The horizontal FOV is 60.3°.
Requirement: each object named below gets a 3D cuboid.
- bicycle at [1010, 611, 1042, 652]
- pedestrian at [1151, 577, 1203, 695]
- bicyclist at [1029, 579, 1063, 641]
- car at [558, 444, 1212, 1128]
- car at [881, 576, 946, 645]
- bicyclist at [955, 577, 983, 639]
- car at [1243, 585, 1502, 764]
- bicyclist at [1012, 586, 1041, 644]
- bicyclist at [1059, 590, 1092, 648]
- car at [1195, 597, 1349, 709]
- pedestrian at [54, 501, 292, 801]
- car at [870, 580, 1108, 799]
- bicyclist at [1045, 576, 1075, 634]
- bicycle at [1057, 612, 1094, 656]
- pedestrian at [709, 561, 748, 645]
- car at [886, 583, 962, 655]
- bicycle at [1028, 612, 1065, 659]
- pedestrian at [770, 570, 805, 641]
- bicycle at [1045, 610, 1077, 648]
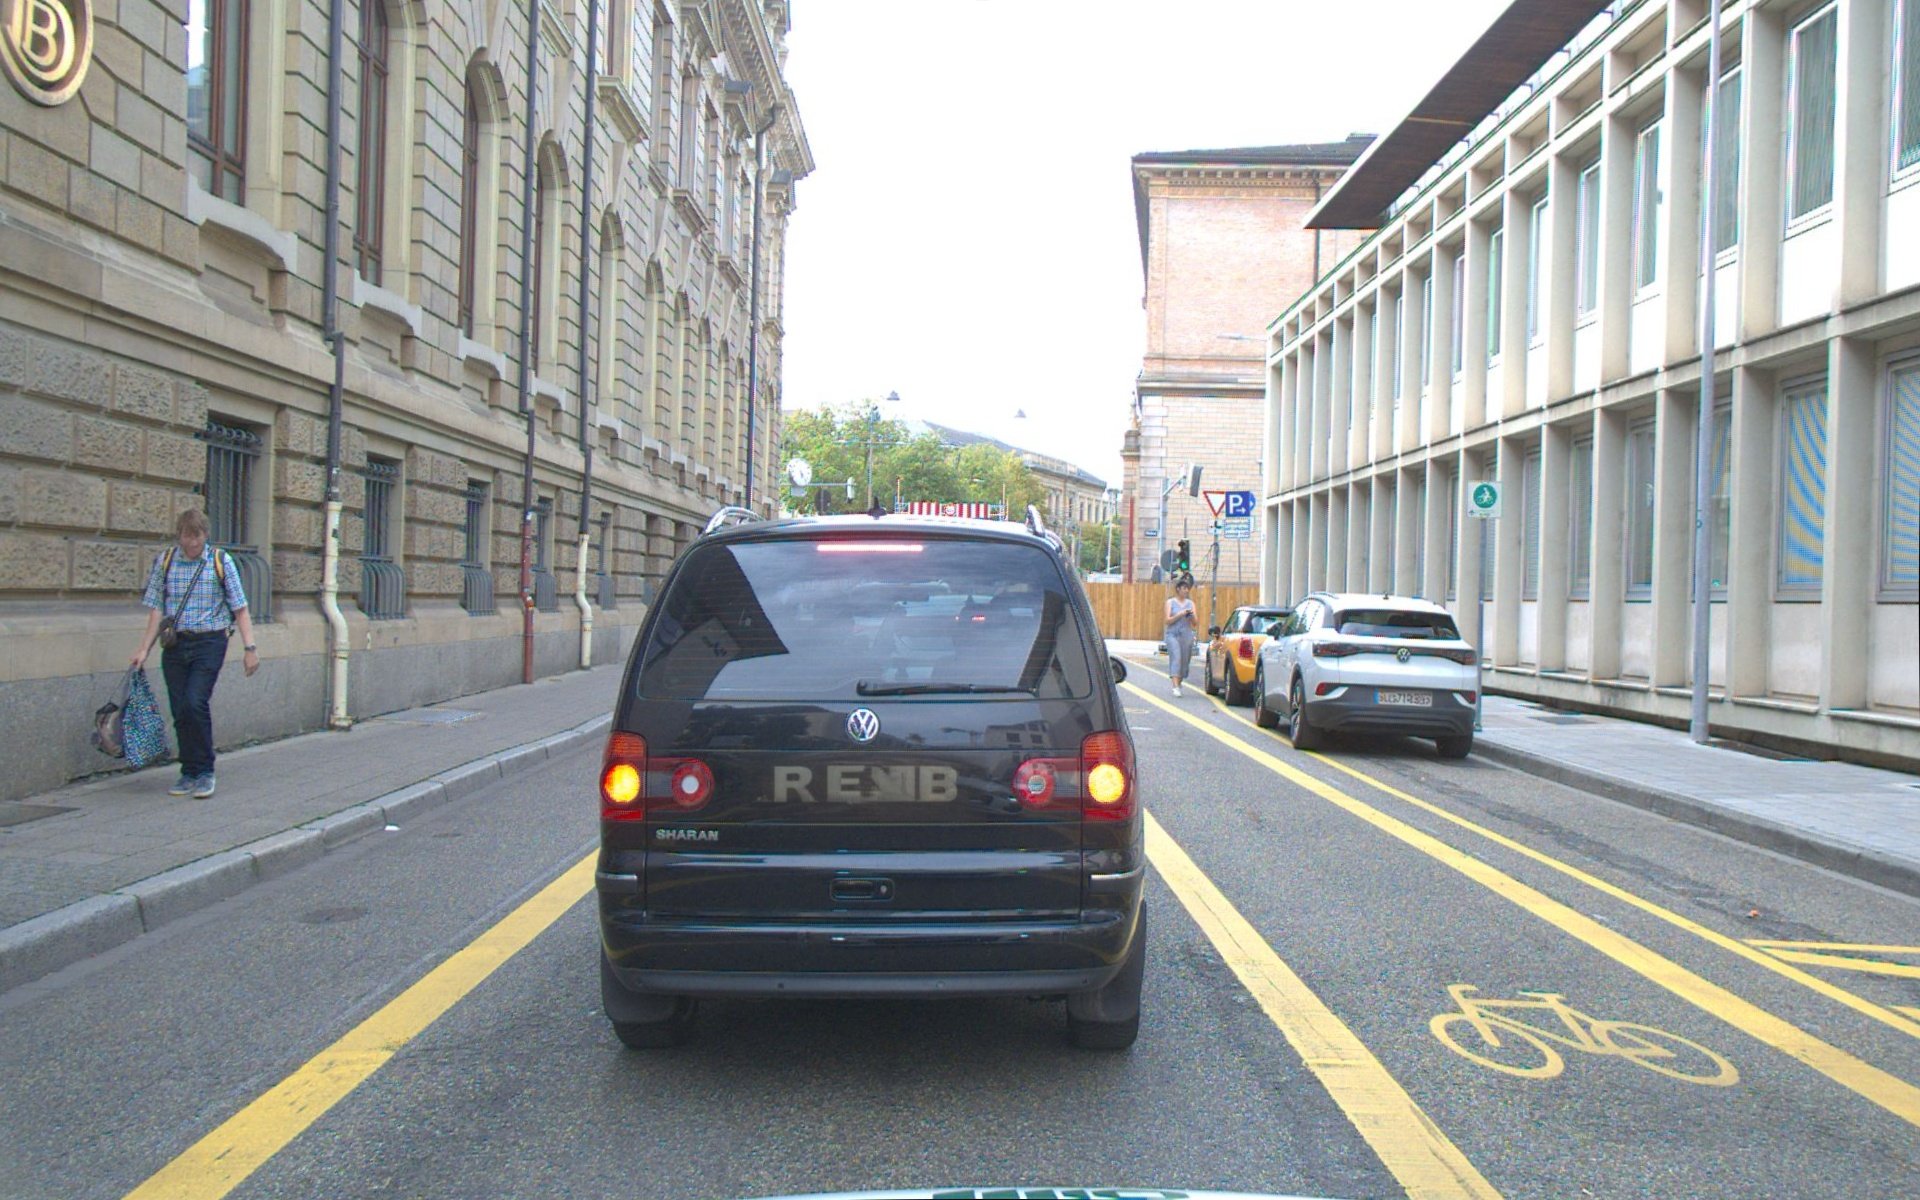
[{"bbox_3d":[1.740,0.814,43.650,0.720,1.026,2.068,1,0,-1],"label":"bicycle"},{"bbox_3d":[3.356,0.549,25.630,0.689,1.794,0.700,1,-1,-1],"label":"pedestrian"},{"bbox_3d":[1.999,0.234,38.458,0.720,1.401,0.828,1,0,-1],"label":"bicyclist"},{"bbox_3d":[-0.136,0.512,6.589,1.752,1.821,4.104,1,0,2],"label":"car"},{"bbox_3d":[-1.370,0.292,47.241,1.700,1.821,4.100,2,0,-4],"label":"car"},{"bbox_3d":[0.242,0.218,44.330,0.720,1.640,0.695,1,-1,-1],"label":"bicyclist"},{"bbox_3d":[4.456,0.738,18.575,1.822,1.633,4.513,4,0,2],"label":"car"},{"bbox_3d":[1.753,0.398,43.677,0.720,1.495,0.808,1,0,-1],"label":"bicyclist"},{"bbox_3d":[2.829,0.456,40.620,0.720,1.399,0.831,1,0,-1],"label":"bicyclist"},{"bbox_3d":[4.663,0.753,25.201,1.645,1.459,3.887,4,0,2],"label":"car"},{"bbox_3d":[-4.917,0.310,10.398,1.005,1.750,0.818,3,-1,-1],"label":"pedestrian"},{"bbox_3d":[0.277,0.637,13.718,1.643,1.494,4.104,2,0,2],"label":"car"},{"bbox_3d":[2.766,0.137,45.830,0.720,1.582,0.895,1,0,-1],"label":"bicyclist"},{"bbox_3d":[2.820,0.820,40.634,0.720,1.026,2.068,1,0,-1],"label":"bicycle"},{"bbox_3d":[-5.195,0.069,37.232,0.650,1.851,1.048,3,-1,-1],"label":"pedestrian"},{"bbox_3d":[-0.871,0.447,40.244,1.737,1.613,3.999,1,0,-1],"label":"car"},{"bbox_3d":[1.989,0.808,38.260,0.720,1.026,2.068,1,0,-1],"label":"bicycle"},{"bbox_3d":[-4.654,0.158,44.715,0.776,1.851,1.048,3,-1,-1],"label":"pedestrian"},{"bbox_3d":[2.780,0.793,45.828,0.720,1.026,2.068,1,0,-1],"label":"bicycle"}]
